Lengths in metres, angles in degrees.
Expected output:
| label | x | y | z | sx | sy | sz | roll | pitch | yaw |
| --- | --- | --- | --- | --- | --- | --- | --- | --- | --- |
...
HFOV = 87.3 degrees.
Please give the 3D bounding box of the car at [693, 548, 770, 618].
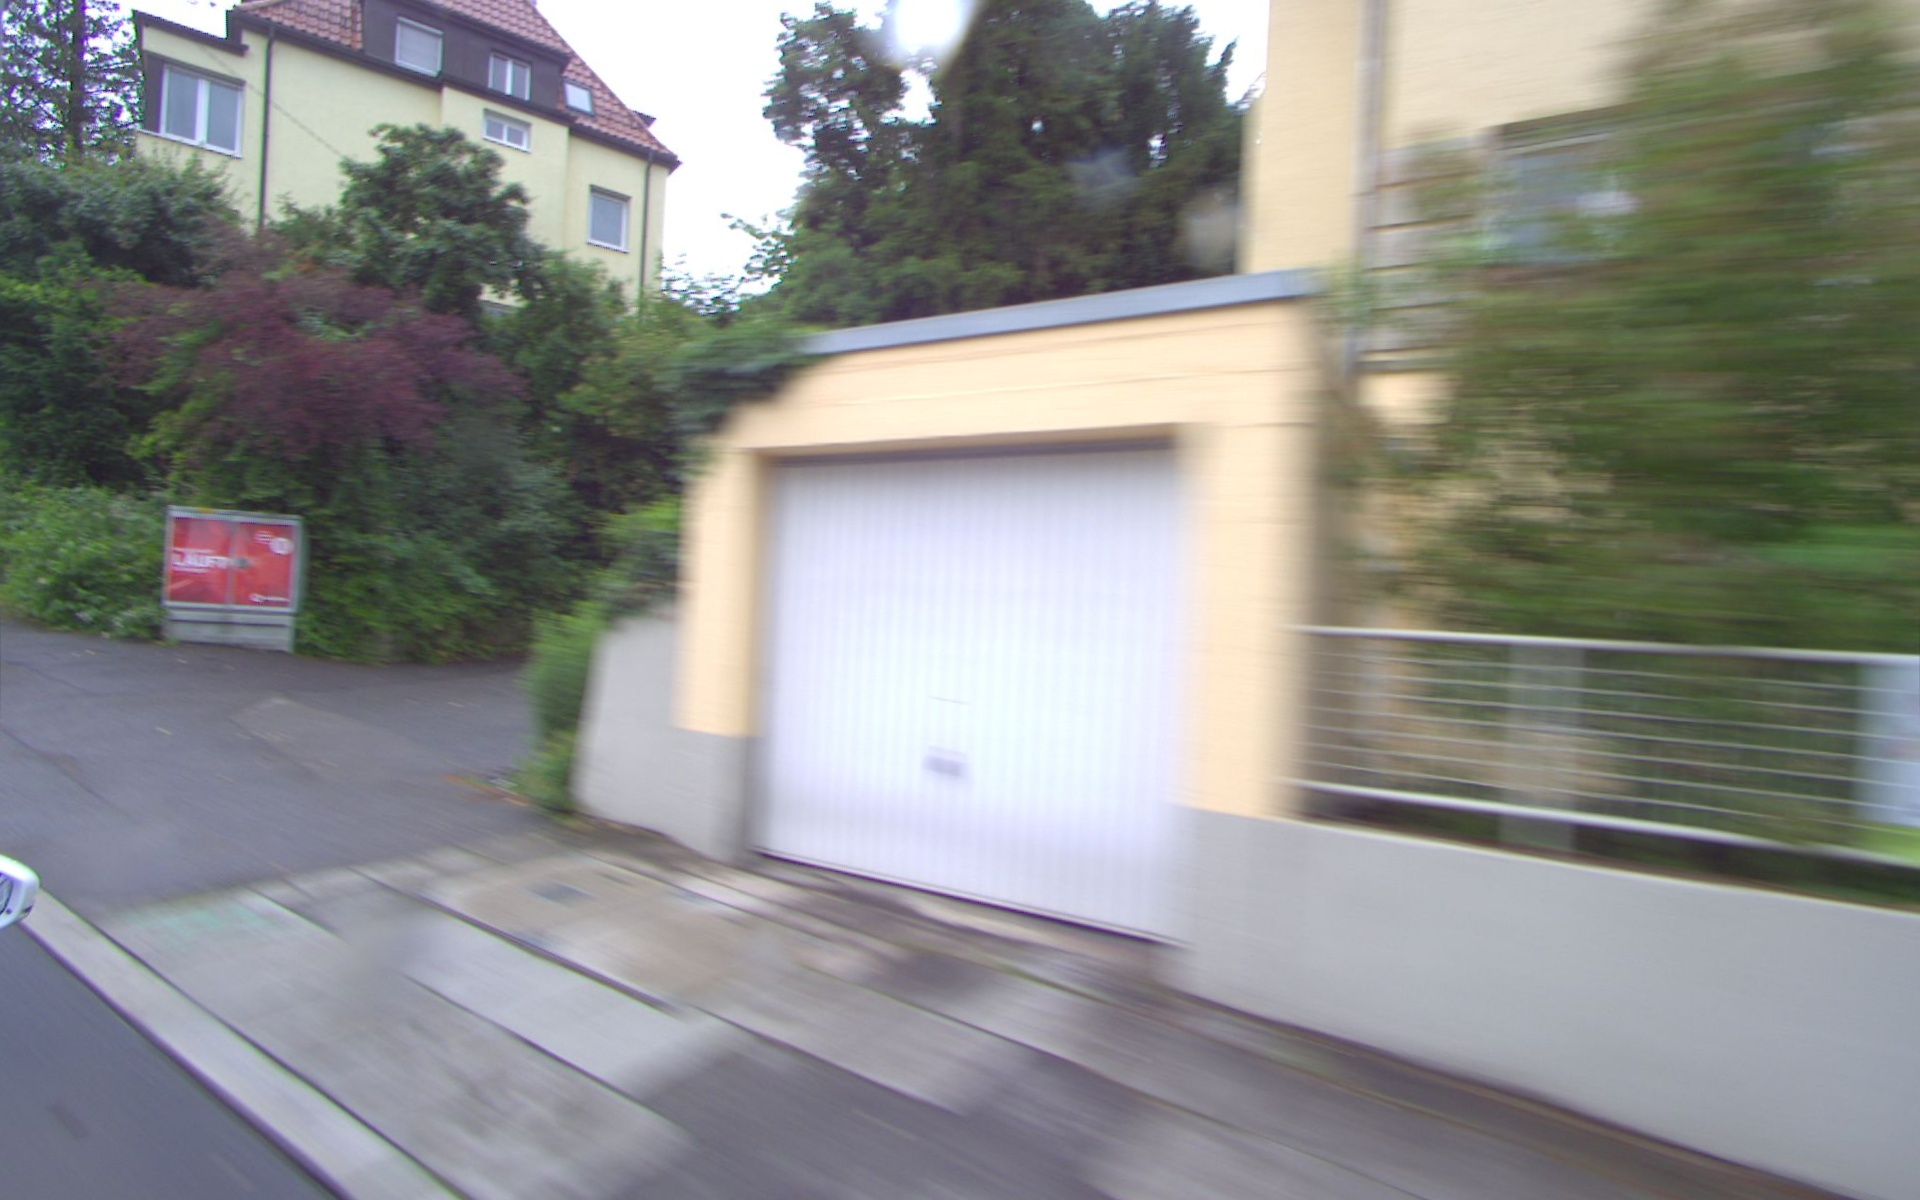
| label | x | y | z | sx | sy | sz | roll | pitch | yaw |
| --- | --- | --- | --- | --- | --- | --- | --- | --- | --- |
| car | -6.532 | -0.528 | 28.506 | 1.847 | 1.480 | 3.709 | 7 | 4 | -16 |
